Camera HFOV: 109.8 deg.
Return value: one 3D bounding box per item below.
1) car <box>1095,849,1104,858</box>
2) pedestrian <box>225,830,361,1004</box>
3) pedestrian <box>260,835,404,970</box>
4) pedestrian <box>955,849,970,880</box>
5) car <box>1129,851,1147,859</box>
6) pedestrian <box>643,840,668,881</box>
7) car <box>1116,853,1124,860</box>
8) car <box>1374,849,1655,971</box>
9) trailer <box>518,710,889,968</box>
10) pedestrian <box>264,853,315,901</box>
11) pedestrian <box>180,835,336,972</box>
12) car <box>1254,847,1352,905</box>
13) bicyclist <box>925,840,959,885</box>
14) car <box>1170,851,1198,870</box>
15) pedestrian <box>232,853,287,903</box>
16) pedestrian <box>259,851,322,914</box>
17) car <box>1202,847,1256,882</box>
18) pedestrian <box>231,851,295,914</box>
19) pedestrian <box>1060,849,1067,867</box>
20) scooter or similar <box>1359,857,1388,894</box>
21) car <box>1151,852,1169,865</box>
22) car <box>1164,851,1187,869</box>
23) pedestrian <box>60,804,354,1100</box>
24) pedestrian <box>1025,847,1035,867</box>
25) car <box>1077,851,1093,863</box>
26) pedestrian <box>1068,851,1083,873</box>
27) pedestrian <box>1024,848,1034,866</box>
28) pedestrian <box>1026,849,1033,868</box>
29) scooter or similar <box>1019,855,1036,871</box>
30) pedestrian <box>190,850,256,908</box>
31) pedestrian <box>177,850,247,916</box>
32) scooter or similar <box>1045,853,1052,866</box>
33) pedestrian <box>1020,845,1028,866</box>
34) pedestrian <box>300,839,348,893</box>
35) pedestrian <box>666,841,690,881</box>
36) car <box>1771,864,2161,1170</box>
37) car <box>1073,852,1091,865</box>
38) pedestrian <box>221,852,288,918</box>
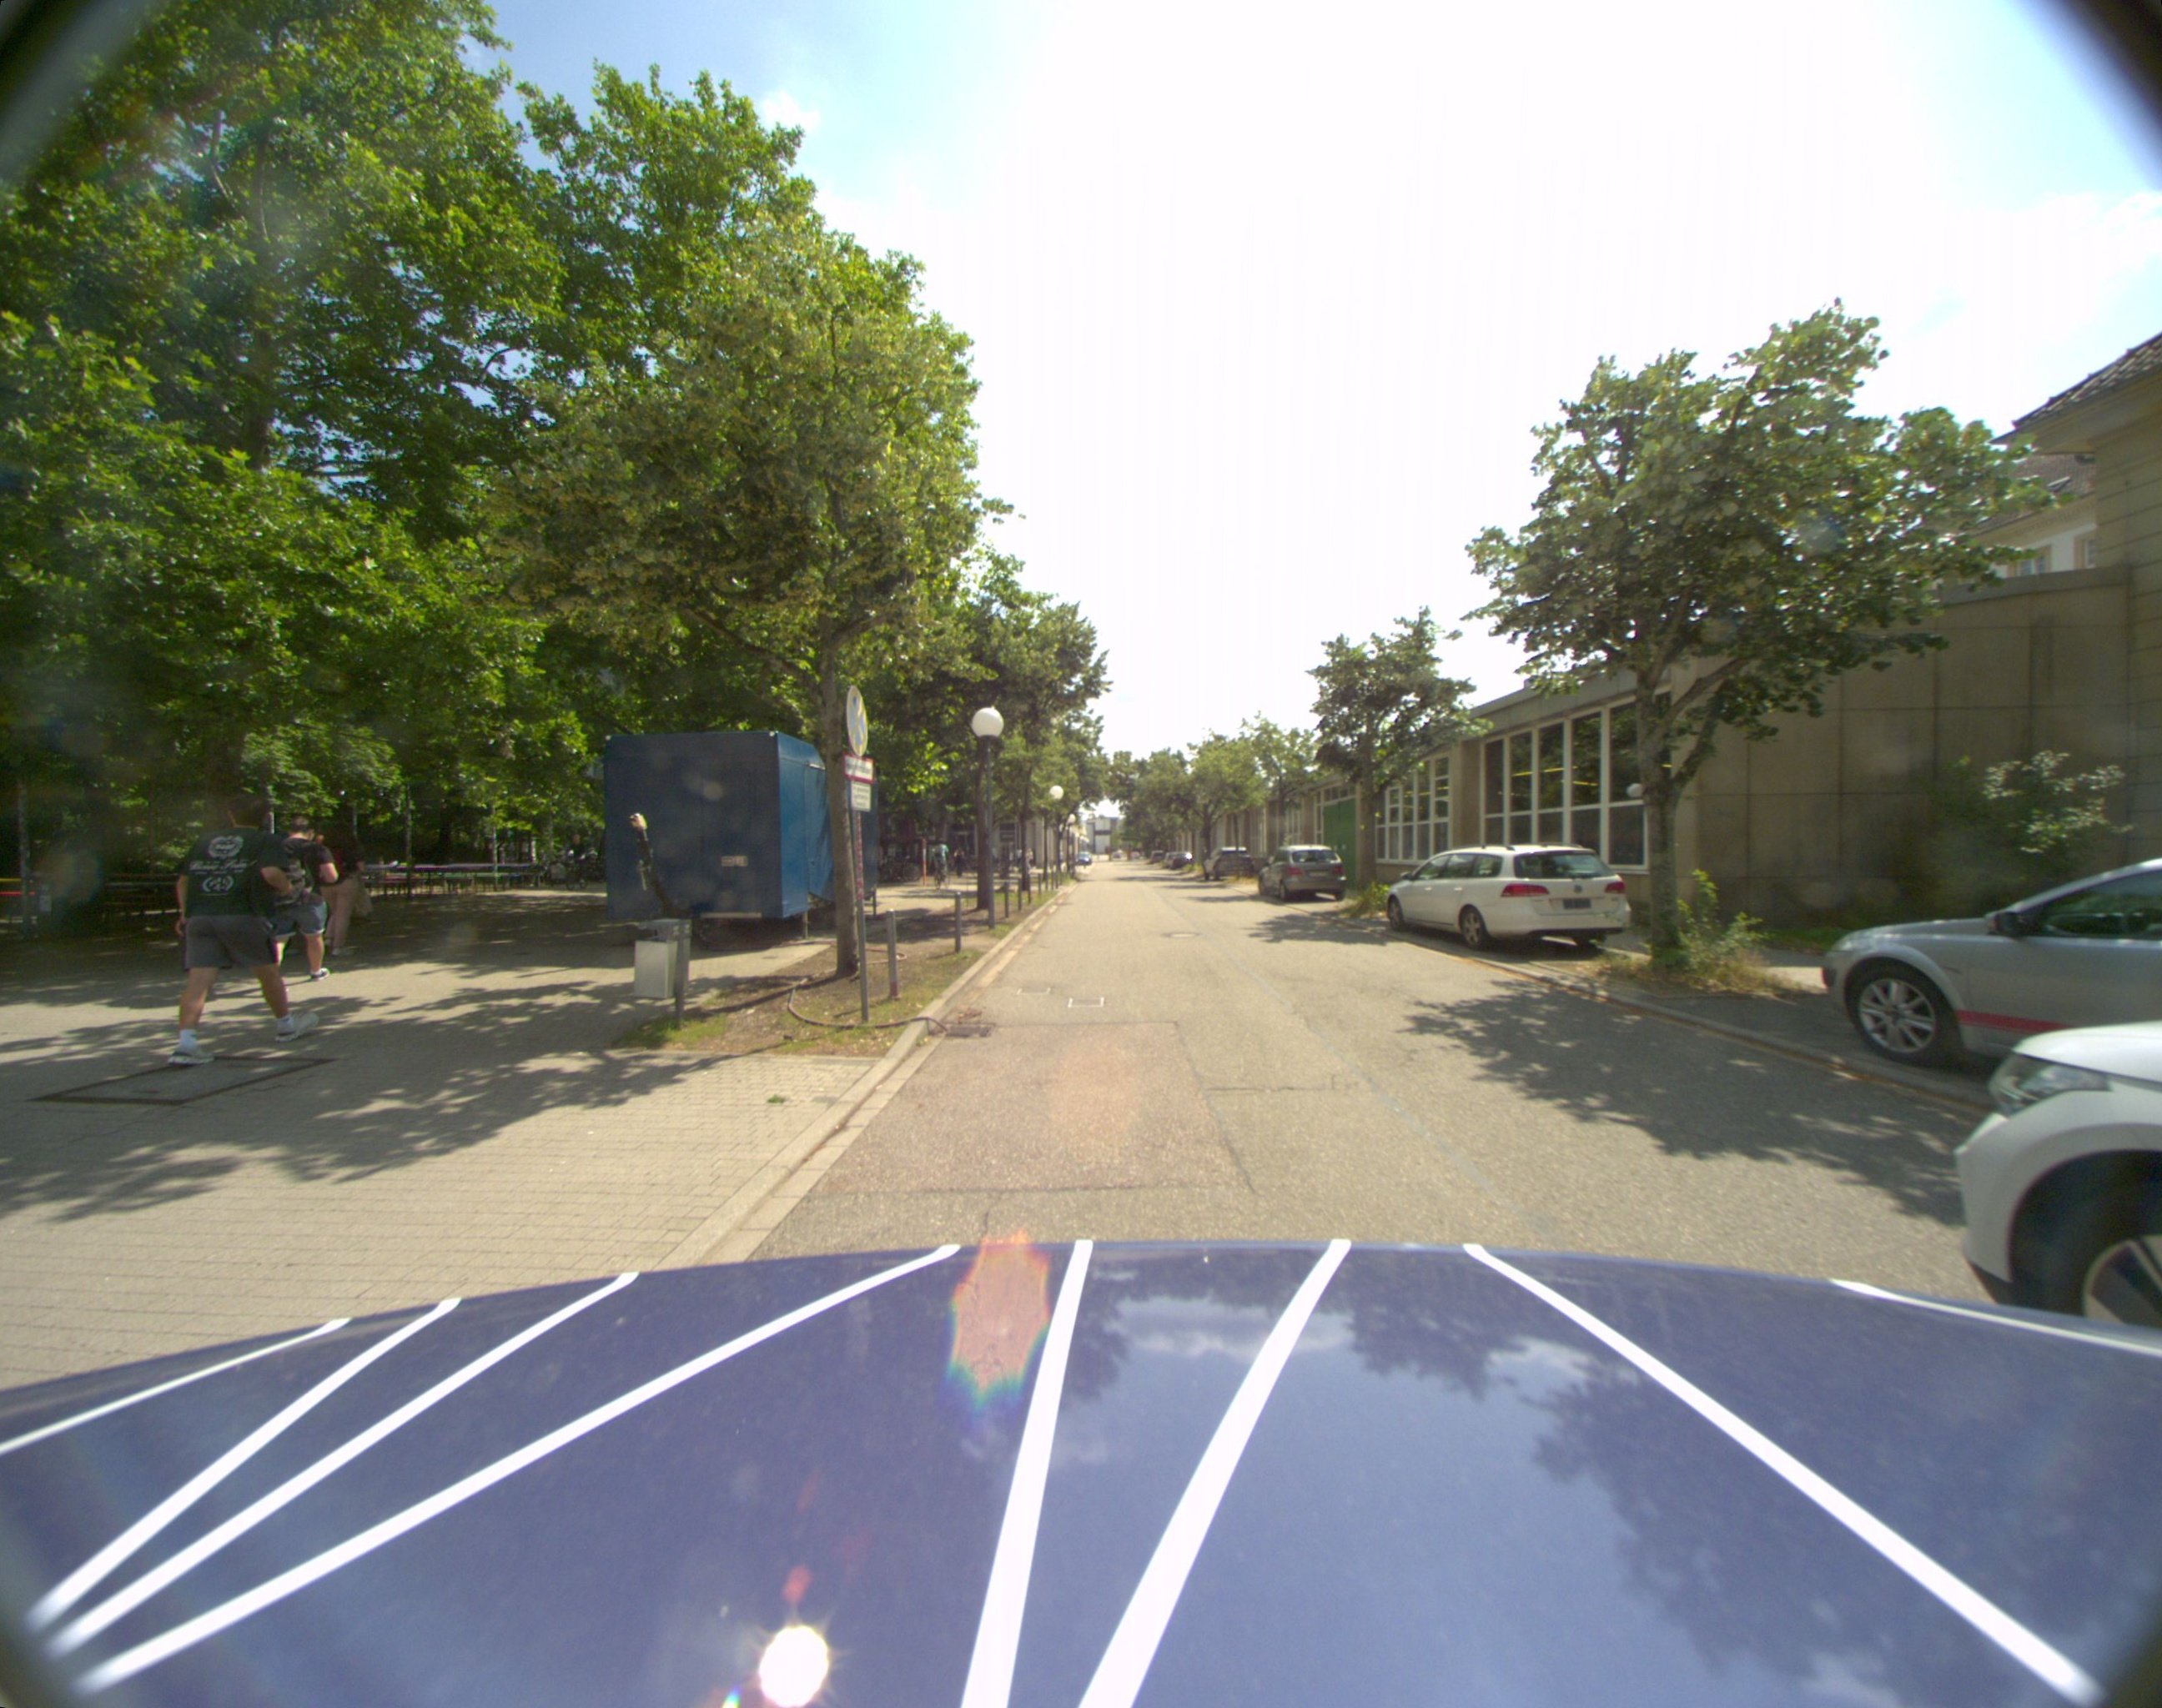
[{"bbox_3d":[4.261,-0.024,175.356,1.998,2.002,4.001,3,0,3],"label":"car"},{"bbox_3d":[-7.728,0.580,7.504,0.852,1.586,0.828,1,0,-41],"label":"pedestrian"},{"bbox_3d":[-9.516,0.589,9.695,0.877,1.628,0.949,0,0,2],"label":"pedestrian"},{"bbox_3d":[-6.274,0.524,40.207,0.570,1.563,0.927,1,4,3],"label":"pedestrian"},{"bbox_3d":[11.988,0.203,160.008,3.673,1.440,1.804,-3,0,1],"label":"car"},{"bbox_3d":[-20.815,0.314,37.220,0.836,1.937,1.077,1,0,-18],"label":"pedestrian"},{"bbox_3d":[9.215,0.563,180.487,1.803,1.440,3.676,-3,0,2],"label":"car"},{"bbox_3d":[6.300,0.686,11.782,1.729,1.448,4.583,-2,0,0],"label":"car"},{"bbox_3d":[-5.283,-0.191,12.154,2.698,3.034,6.257,1,0,1],"label":"trailer"},{"bbox_3d":[-21.353,0.613,20.497,0.668,1.264,0.622,3,0,-2],"label":"pedestrian"},{"bbox_3d":[-10.373,0.594,9.624,0.877,1.628,0.949,-1,1,2],"label":"pedestrian"},{"bbox_3d":[6.650,0.608,23.231,1.761,1.547,4.113,-2,1,0],"label":"car"},{"bbox_3d":[-4.911,0.287,26.863,0.651,1.558,1.197,3,1,16],"label":"bicyclist"},{"bbox_3d":[8.390,0.505,62.304,1.729,1.427,4.290,-2,-1,2],"label":"car"},{"bbox_3d":[-21.209,0.611,19.624,0.668,1.264,0.622,3,0,-2],"label":"pedestrian"},{"bbox_3d":[-17.398,0.610,16.740,0.571,1.339,0.729,3,0,-2],"label":"pedestrian"},{"bbox_3d":[7.469,0.477,38.730,1.826,1.623,4.516,-2,0,0],"label":"car"},{"bbox_3d":[-17.980,0.616,16.718,0.571,1.339,0.729,3,0,-2],"label":"pedestrian"},{"bbox_3d":[-1.633,0.400,72.090,0.613,1.719,0.542,0,1,3],"label":"pedestrian"},{"bbox_3d":[9.760,0.698,25.386,0.506,1.162,1.215,-2,1,3],"label":"scooter or similar"},{"bbox_3d":[9.363,0.478,90.162,1.803,1.440,3.676,-3,0,2],"label":"car"},{"bbox_3d":[8.440,0.537,67.954,1.633,1.440,3.753,-3,0,2],"label":"car"},{"bbox_3d":[-6.053,0.609,5.373,0.855,1.849,1.115,0,1,-14],"label":"pedestrian"},{"bbox_3d":[-4.422,0.272,65.634,0.797,1.718,0.601,0,1,1],"label":"pedestrian"},{"bbox_3d":[0.500,0.414,91.276,1.842,1.390,3.879,1,-1,2],"label":"car"},{"bbox_3d":[-0.434,0.635,59.610,0.935,1.730,0.750,0,1,27],"label":"pedestrian"},{"bbox_3d":[-4.413,0.267,64.954,0.797,1.533,0.664,0,1,1],"label":"pedestrian"},{"bbox_3d":[-4.598,0.428,68.011,0.613,1.719,0.542,0,1,3],"label":"pedestrian"},{"bbox_3d":[-3.783,0.673,53.863,0.496,1.107,1.365,0,-1,27],"label":"scooter or similar"},{"bbox_3d":[-20.261,0.582,17.957,0.668,1.339,0.719,3,0,-2],"label":"pedestrian"},{"bbox_3d":[-18.196,0.600,15.920,0.571,1.339,0.729,3,0,-2],"label":"pedestrian"},{"bbox_3d":[-2.995,0.507,69.821,0.564,1.205,1.510,2,1,1],"label":"scooter or similar"},{"bbox_3d":[-5.001,0.127,66.775,0.687,1.880,0.686,-1,2,-1],"label":"pedestrian"},{"bbox_3d":[-22.859,0.351,22.949,0.719,1.572,0.668,3,0,-11],"label":"pedestrian"},{"bbox_3d":[-19.868,0.359,37.498,0.836,1.937,1.077,1,0,-18],"label":"pedestrian"},{"bbox_3d":[5.905,0.781,3.554,1.729,1.336,4.166,-2,0,4],"label":"car"},{"bbox_3d":[0.169,0.561,85.691,1.842,1.390,3.879,1,-1,2],"label":"car"},{"bbox_3d":[-17.347,0.638,15.959,0.571,1.339,0.729,3,0,-2],"label":"pedestrian"}]
